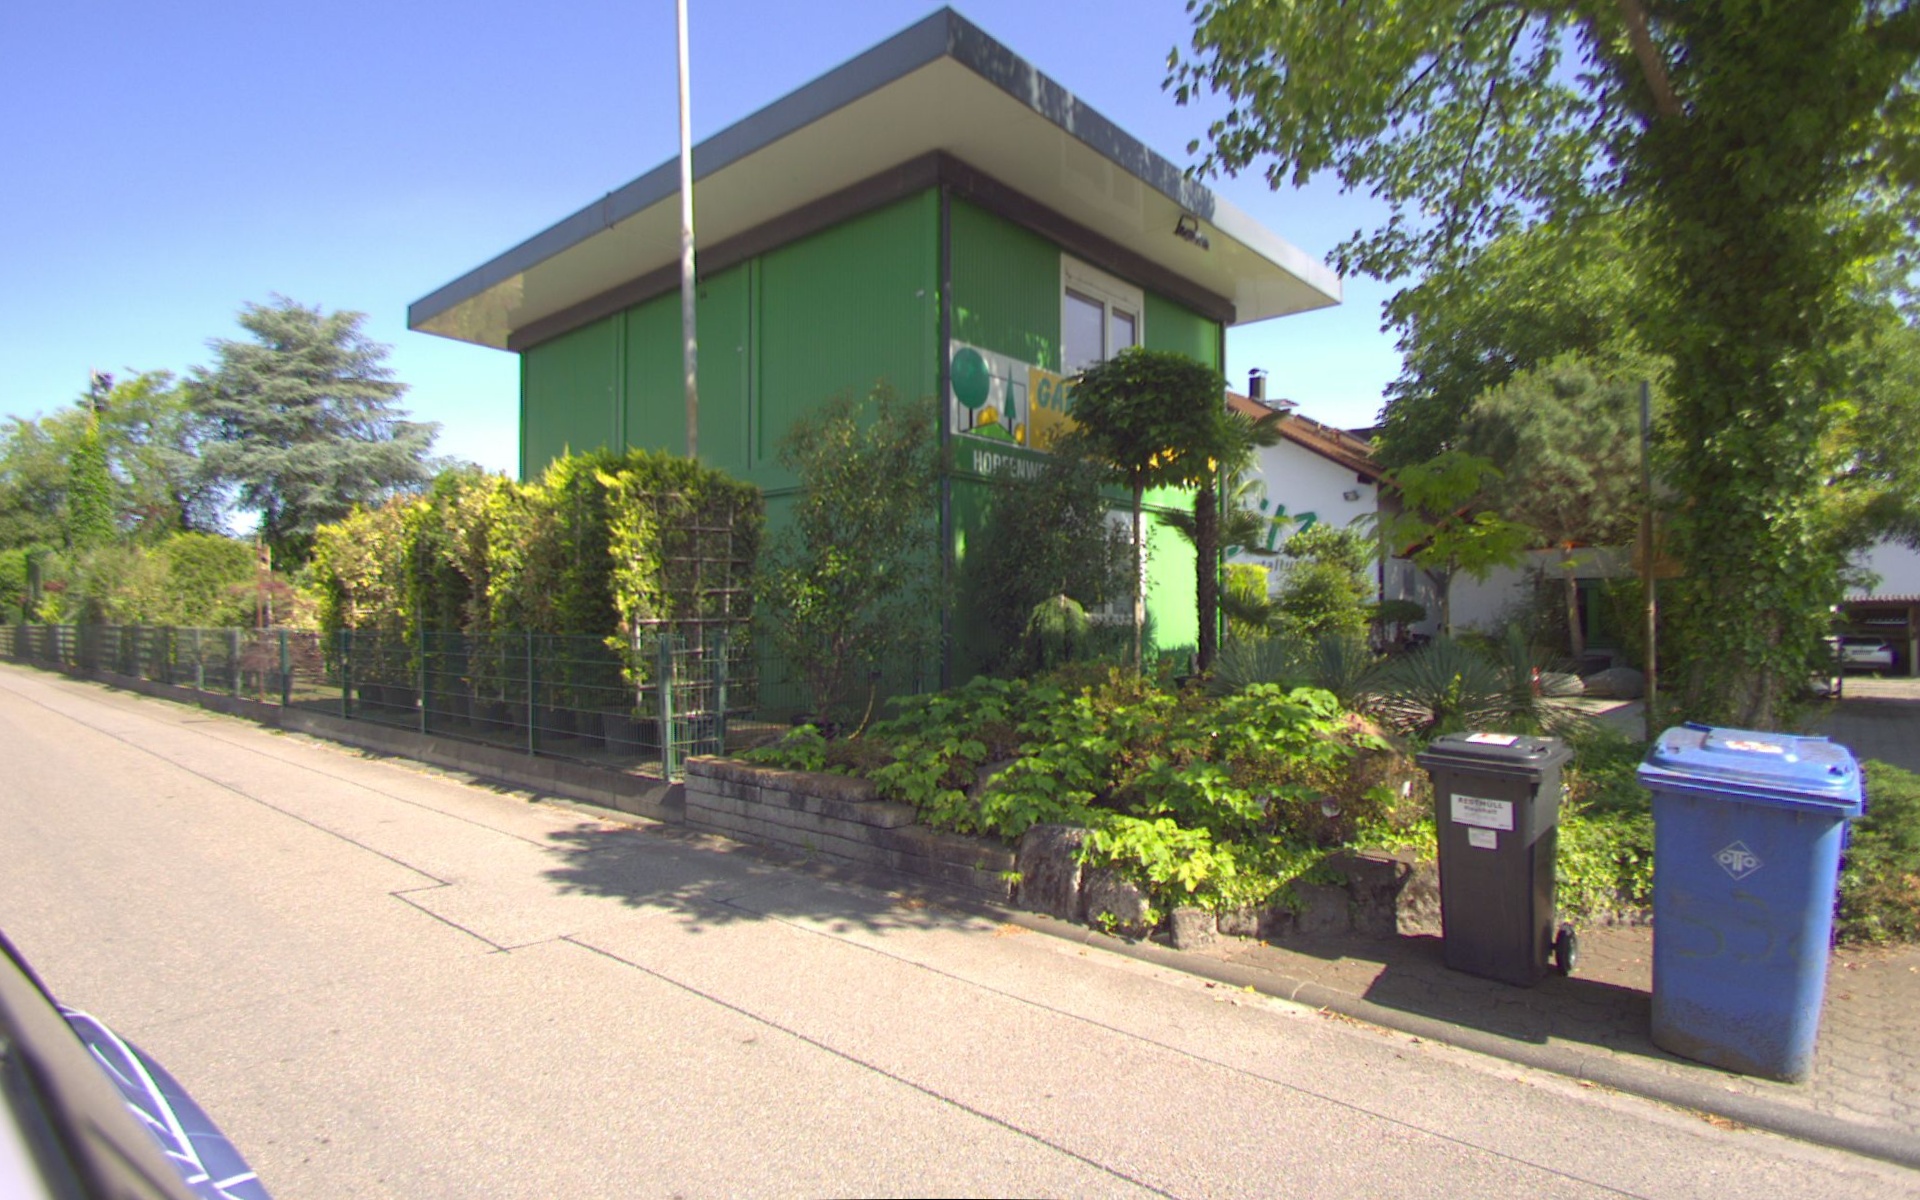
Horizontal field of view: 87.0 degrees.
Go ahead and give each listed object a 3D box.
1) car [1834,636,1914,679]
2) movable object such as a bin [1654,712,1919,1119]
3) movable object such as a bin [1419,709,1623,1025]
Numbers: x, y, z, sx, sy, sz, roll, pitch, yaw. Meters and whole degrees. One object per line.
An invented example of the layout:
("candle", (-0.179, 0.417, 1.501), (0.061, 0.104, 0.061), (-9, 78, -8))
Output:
("car", (33.477, 2.060, 37.029), (3.940, 1.453, 1.904), (2, -3, -44))
("movable object such as a bin", (2.746, 0.952, 3.369), (0.612, 1.062, 0.723), (-2, -1, 42))
("movable object such as a bin", (2.208, 0.984, 3.979), (0.568, 1.032, 0.576), (-2, -1, 42))
